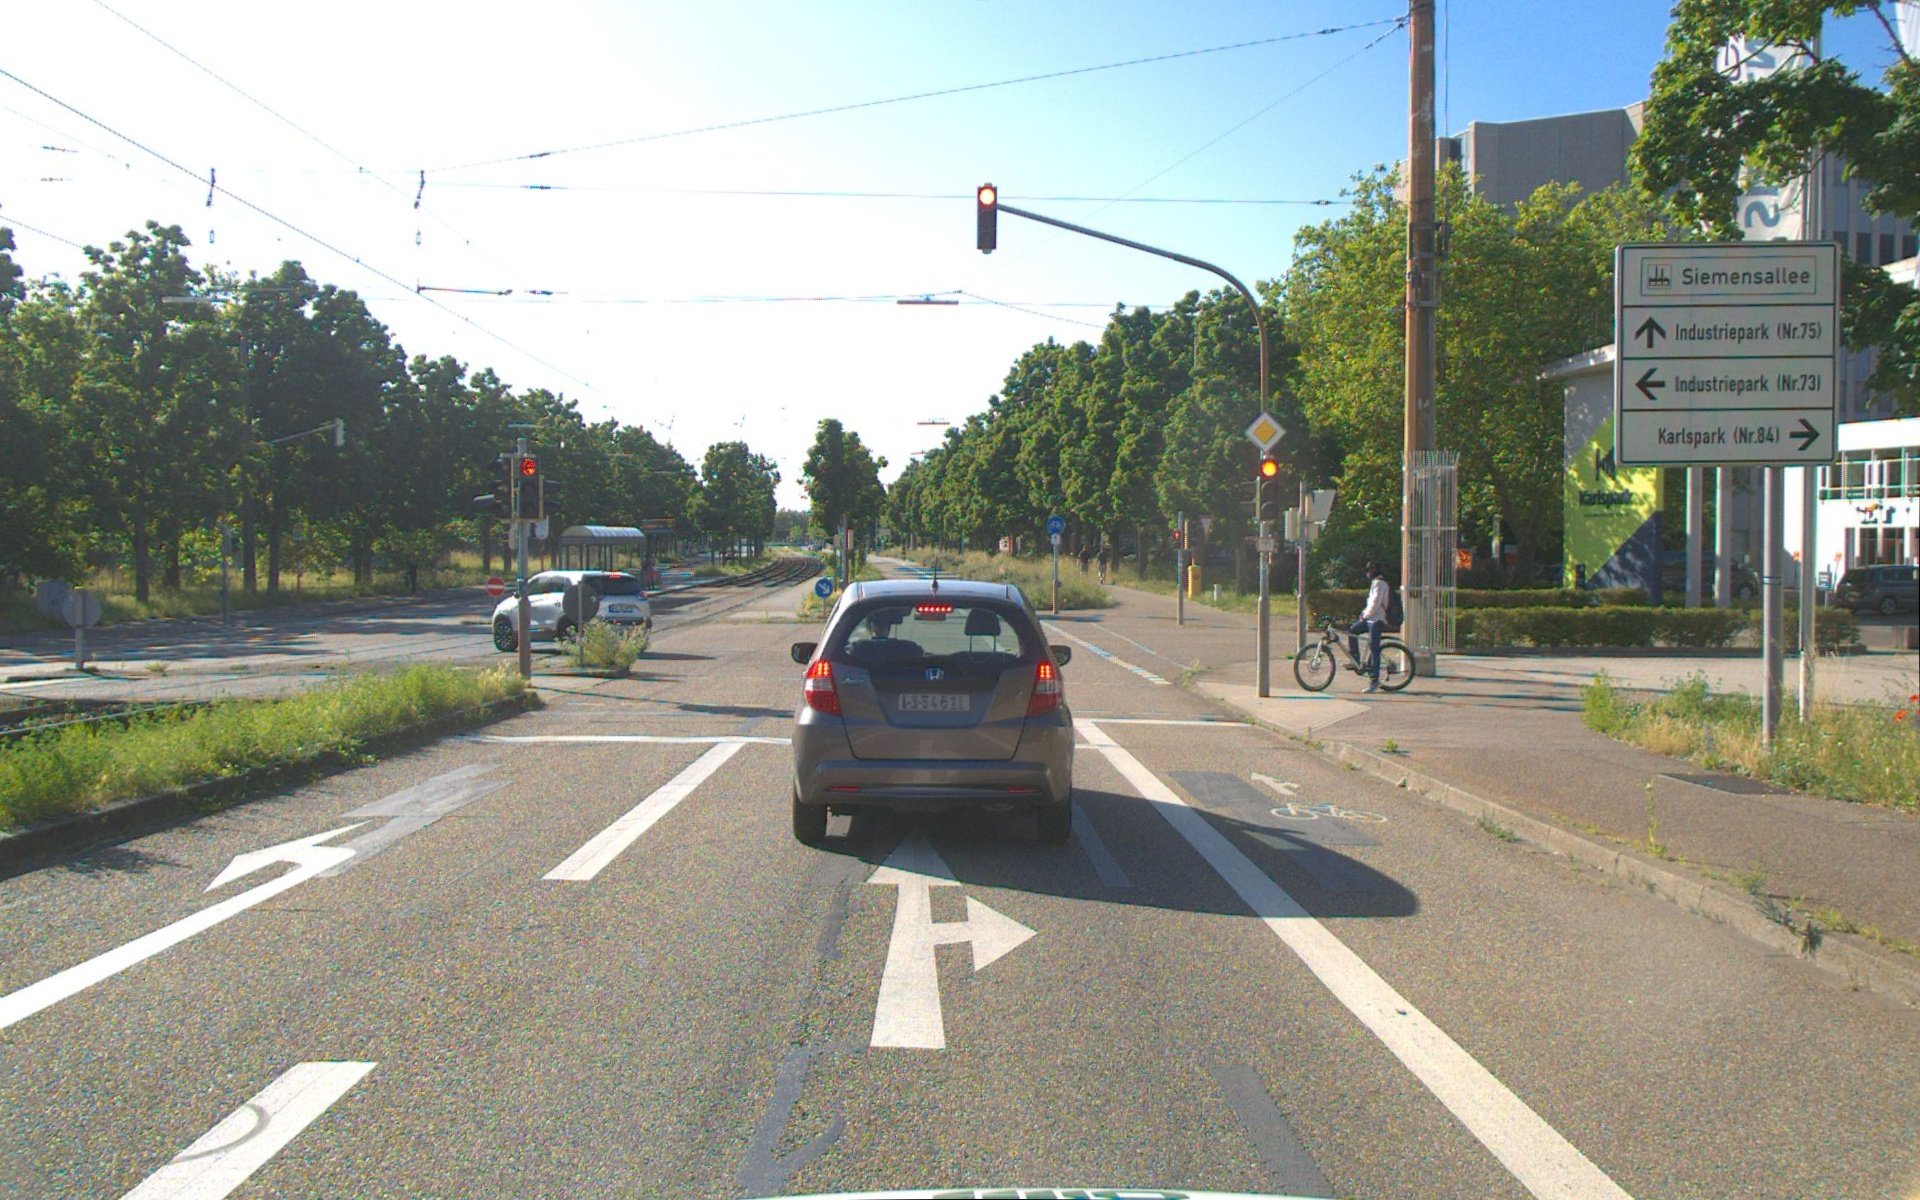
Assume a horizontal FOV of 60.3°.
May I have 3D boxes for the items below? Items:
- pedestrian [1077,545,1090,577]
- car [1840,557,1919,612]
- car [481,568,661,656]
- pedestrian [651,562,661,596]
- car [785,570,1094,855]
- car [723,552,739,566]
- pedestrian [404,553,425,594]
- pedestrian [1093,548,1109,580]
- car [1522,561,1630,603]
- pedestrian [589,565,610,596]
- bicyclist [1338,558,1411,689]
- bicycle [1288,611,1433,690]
[{"bbox_3d":[6.352,-1.975,84.996,0.556,1.624,0.665,1,0,-5],"label":"pedestrian"},{"bbox_3d":[31.122,-0.508,53.958,3.914,1.750,1.895,0,1,-10],"label":"car"},{"bbox_3d":[-7.854,0.193,33.160,1.840,1.634,4.192,0,1,-40],"label":"car"},{"bbox_3d":[-15.365,-1.063,83.516,0.493,1.705,0.387,0,1,-12],"label":"pedestrian"},{"bbox_3d":[-0.114,0.594,11.043,1.672,1.535,4.000,1,1,0],"label":"car"},{"bbox_3d":[-30.499,-5.483,220.594,1.731,1.768,3.998,0,0,-3],"label":"car"},{"bbox_3d":[-27.165,-1.321,82.371,0.823,2.049,0.863,0,1,-3],"label":"pedestrian"},{"bbox_3d":[7.242,-1.834,84.928,0.664,1.638,0.720,1,0,-3],"label":"pedestrian"},{"bbox_3d":[26.469,-0.779,71.068,3.919,1.788,1.993,0,1,-14],"label":"car"},{"bbox_3d":[-15.008,-0.802,68.917,0.706,1.267,0.710,-1,1,-3],"label":"pedestrian"},{"bbox_3d":[5.733,0.319,22.931,0.890,1.775,0.765,-1,0,10],"label":"bicyclist"},{"bbox_3d":[5.536,0.700,22.969,1.879,1.015,0.765,-2,0,10],"label":"bicycle"}]
